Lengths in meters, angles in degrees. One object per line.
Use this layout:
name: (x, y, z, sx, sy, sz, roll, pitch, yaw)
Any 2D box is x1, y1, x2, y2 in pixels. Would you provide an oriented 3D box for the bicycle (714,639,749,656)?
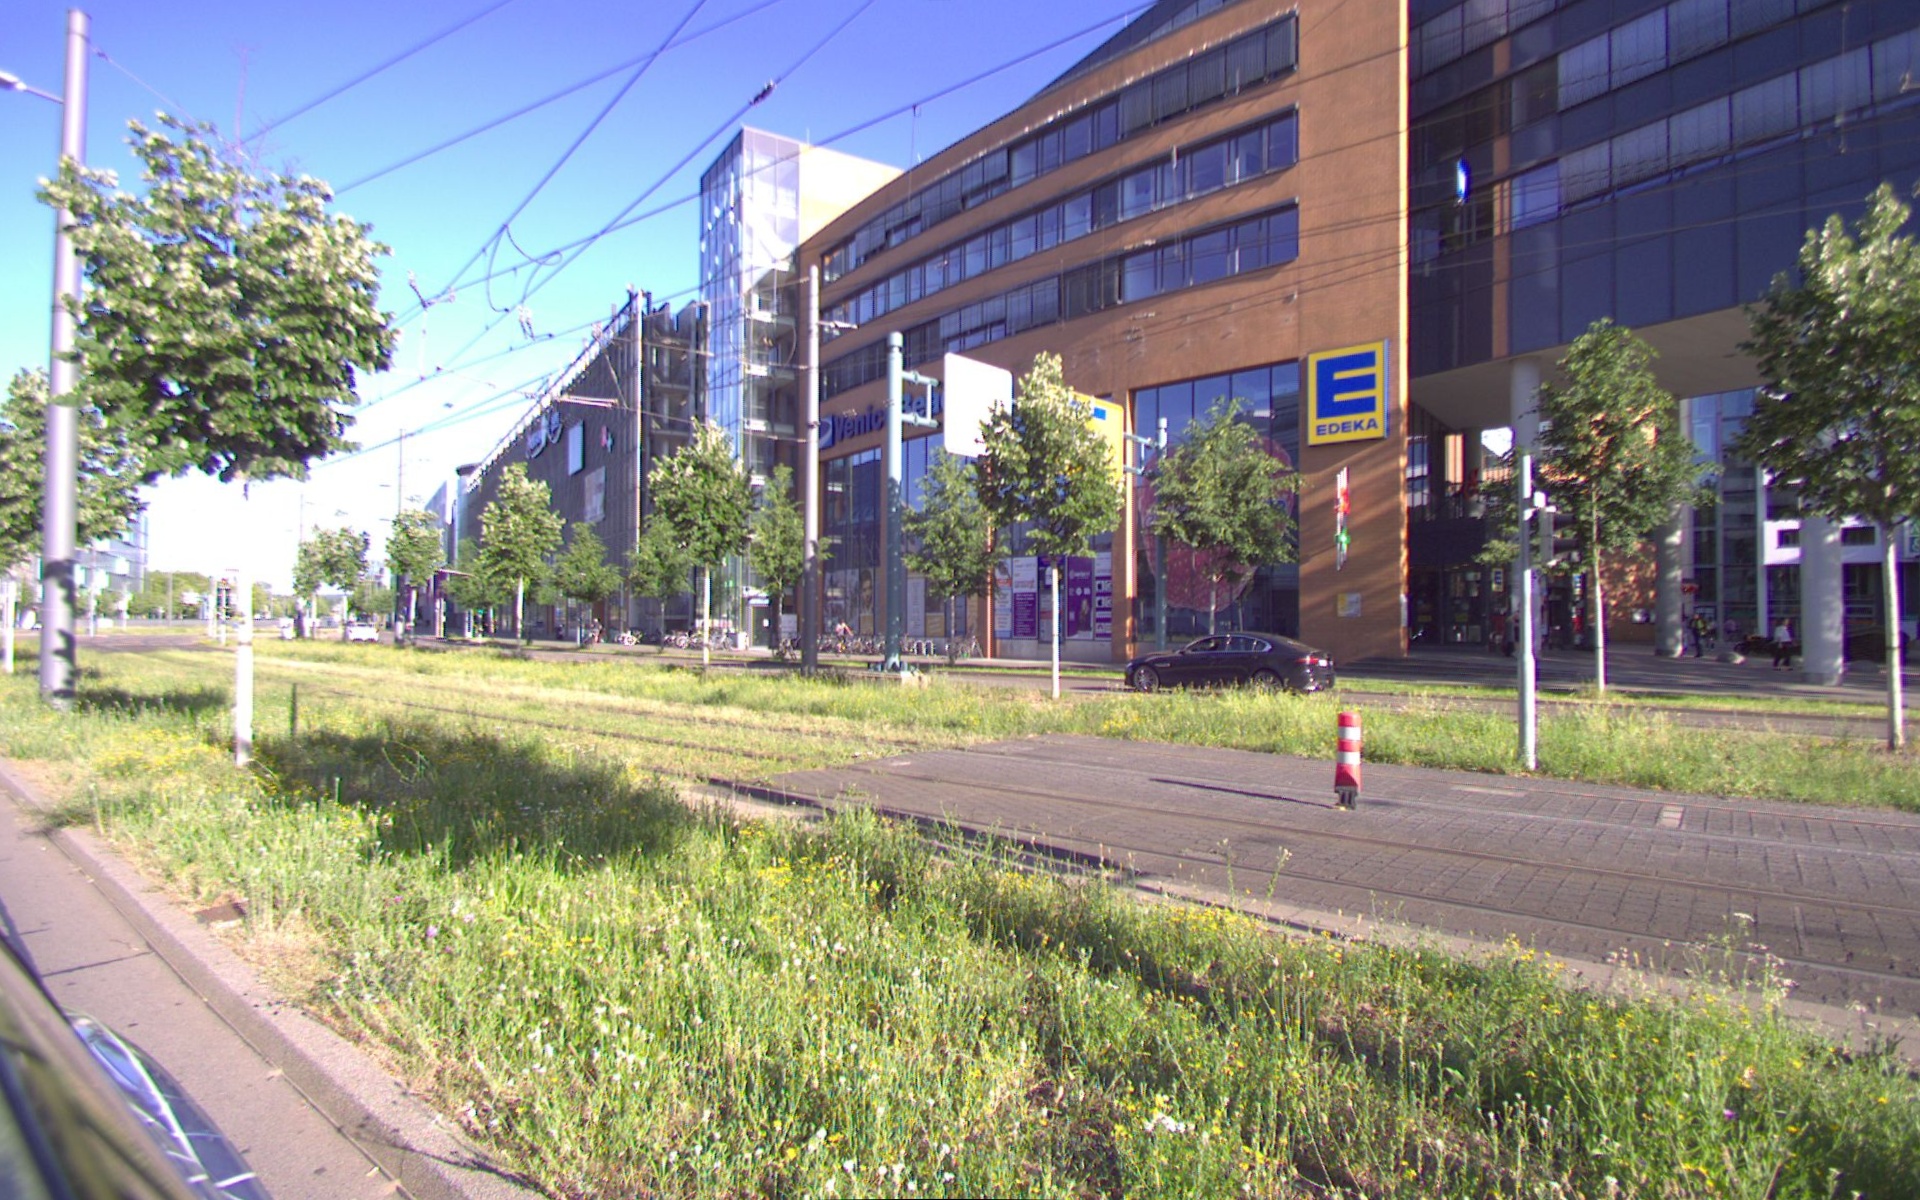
bicycle: (-12.427, 2.586, 55.111, 1.741, 0.933, 0.566, 1, -2, -33)

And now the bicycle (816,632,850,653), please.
bicycle: (-6.458, 2.162, 51.370, 1.744, 1.057, 0.491, 1, -2, -42)

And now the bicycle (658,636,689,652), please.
bicycle: (-17.574, 2.680, 62.087, 1.741, 0.933, 0.492, 1, -2, -33)

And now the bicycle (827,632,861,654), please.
bicycle: (-5.789, 2.151, 50.640, 1.744, 1.057, 0.491, 1, -2, -42)

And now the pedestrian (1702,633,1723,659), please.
pedestrian: (38.663, 2.375, 51.986, 0.627, 1.287, 0.664, 0, 0, -32)

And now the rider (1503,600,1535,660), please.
rider: (17.114, 0.921, 30.994, 0.712, 1.816, 0.710, -1, -2, 42)

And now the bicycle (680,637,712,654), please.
bicycle: (-15.334, 2.638, 58.805, 1.741, 0.933, 0.566, 1, -2, -33)

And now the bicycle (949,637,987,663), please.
bicycle: (0.338, 2.140, 43.280, 1.744, 1.057, 0.491, 1, -2, -42)

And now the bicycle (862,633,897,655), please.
bicycle: (-3.894, 2.119, 48.764, 1.744, 1.057, 0.491, 1, -2, -42)

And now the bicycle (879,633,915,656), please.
bicycle: (-2.969, 2.103, 47.748, 1.744, 1.057, 0.491, 1, -2, -42)

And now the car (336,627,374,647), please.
car: (-41.141, 2.497, 68.781, 1.782, 1.338, 4.415, 2, -2, -36)

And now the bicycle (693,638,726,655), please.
bicycle: (-14.128, 2.616, 57.079, 1.741, 0.933, 0.566, 1, -2, -33)

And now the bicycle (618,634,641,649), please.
bicycle: (-22.045, 2.770, 67.540, 1.377, 0.933, 0.463, 1, -2, -33)

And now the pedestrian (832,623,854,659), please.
pedestrian: (-5.445, 1.895, 47.025, 0.736, 1.681, 0.676, 1, -2, -43)

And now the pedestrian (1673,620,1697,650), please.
pedestrian: (37.228, 1.778, 51.952, 1.038, 1.491, 0.660, 0, 0, -32)

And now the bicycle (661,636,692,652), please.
bicycle: (-17.219, 2.673, 61.500, 1.741, 0.933, 0.566, 1, -2, -33)

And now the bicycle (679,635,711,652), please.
bicycle: (-15.556, 2.554, 59.429, 1.741, 0.933, 0.492, 1, -2, -33)

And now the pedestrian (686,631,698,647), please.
pedestrian: (-17.916, 2.592, 67.613, 0.619, 1.063, 0.450, 1, -2, -36)

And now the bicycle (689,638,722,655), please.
bicycle: (-14.508, 2.623, 57.641, 1.741, 0.933, 0.566, 1, -2, -33)

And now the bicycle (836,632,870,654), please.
bicycle: (-5.286, 2.142, 50.168, 1.744, 1.057, 0.491, 1, -2, -42)

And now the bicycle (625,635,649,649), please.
bicycle: (-21.154, 2.753, 66.284, 1.377, 0.933, 0.463, 1, -2, -33)

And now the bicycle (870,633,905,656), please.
bicycle: (-3.458, 2.111, 48.226, 1.744, 1.057, 0.491, 1, -2, -42)

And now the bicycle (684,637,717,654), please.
bicycle: (-14.923, 2.630, 58.196, 1.741, 0.933, 0.566, 1, -2, -33)

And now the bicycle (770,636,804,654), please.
bicycle: (-9.588, 2.491, 56.107, 1.741, 0.933, 0.566, 1, -2, -33)

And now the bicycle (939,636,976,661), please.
bicycle: (-0.101, 2.082, 43.671, 1.744, 1.057, 0.491, 1, -2, -42)

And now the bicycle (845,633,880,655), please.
bicycle: (-4.795, 2.134, 49.707, 1.744, 1.057, 0.491, 1, -2, -42)

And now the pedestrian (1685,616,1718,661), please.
pedestrian: (29.293, 1.517, 39.998, 0.778, 1.720, 0.810, 0, 0, -32)

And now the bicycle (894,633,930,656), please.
bicycle: (-2.246, 2.093, 47.576, 1.744, 1.057, 0.491, 1, -2, -42)

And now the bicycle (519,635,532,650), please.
bicycle: (-27.404, 2.662, 63.839, 0.380, 0.930, 1.775, 1, -2, -36)

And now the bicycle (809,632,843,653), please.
bicycle: (-6.857, 2.180, 51.822, 1.744, 1.057, 0.491, 1, -2, -42)

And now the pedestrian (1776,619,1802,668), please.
pedestrian: (25.571, 1.329, 31.218, 0.572, 1.491, 0.447, -1, -1, 41)

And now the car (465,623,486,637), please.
car: (-56.751, 3.522, 118.505, 1.559, 1.541, 3.759, 0, 0, -37)

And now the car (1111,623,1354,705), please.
car: (5.850, 1.308, 22.023, 4.729, 1.608, 1.975, -1, -2, 36)

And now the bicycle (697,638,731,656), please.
bicycle: (-13.702, 2.607, 56.437, 1.741, 0.933, 0.566, 1, -2, -33)

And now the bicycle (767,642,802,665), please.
bicycle: (-7.263, 2.197, 41.833, 1.771, 0.875, 0.458, -1, -2, 42)

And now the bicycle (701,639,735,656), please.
bicycle: (-13.330, 2.600, 55.776, 1.741, 0.933, 0.566, 1, -2, -33)

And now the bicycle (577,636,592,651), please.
bicycle: (-22.715, 2.639, 61.217, 0.380, 0.875, 1.775, 1, -2, -36)
